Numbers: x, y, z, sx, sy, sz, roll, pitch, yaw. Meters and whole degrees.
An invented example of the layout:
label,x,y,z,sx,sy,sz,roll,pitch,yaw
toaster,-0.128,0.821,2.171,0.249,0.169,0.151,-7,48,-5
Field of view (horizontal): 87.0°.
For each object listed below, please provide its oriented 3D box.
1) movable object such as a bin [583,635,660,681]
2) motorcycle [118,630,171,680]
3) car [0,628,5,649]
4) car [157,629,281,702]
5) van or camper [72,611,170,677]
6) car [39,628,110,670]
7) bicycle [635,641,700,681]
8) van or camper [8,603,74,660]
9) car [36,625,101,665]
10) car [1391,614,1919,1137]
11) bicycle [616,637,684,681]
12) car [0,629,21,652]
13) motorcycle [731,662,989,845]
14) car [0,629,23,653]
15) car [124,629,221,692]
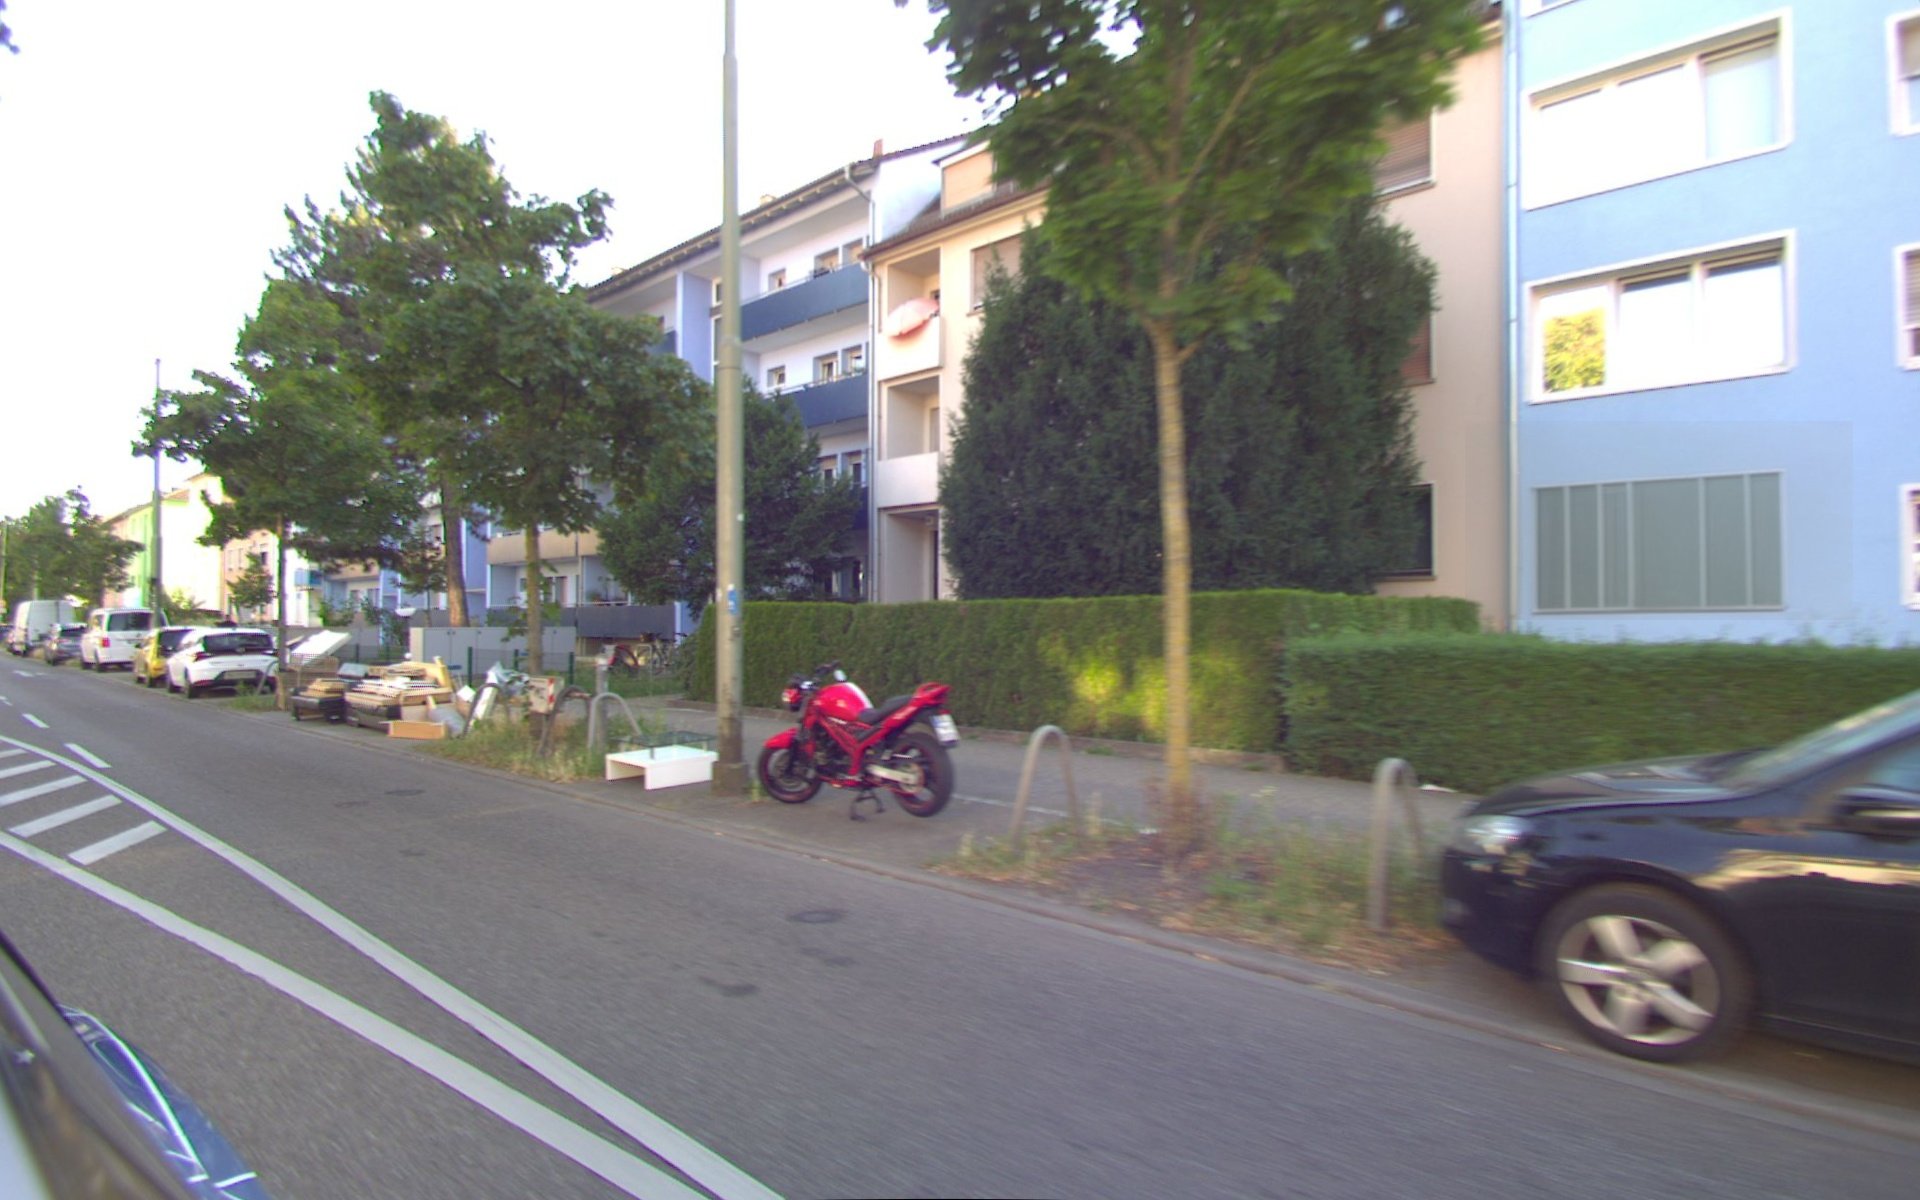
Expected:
label,x,y,z,sx,sy,sz,roll,pitch,yaw
movable object such as a bin,-8.148,1.378,24.380,1.060,1.057,1.446,-2,-2,43
motorcycle,-24.184,1.612,30.044,0.780,1.412,2.024,1,-2,-26
car,-76.169,3.006,79.277,3.958,1.609,1.784,-2,-2,44
car,-16.692,1.408,22.725,3.882,1.454,1.661,-2,-1,45
van or camper,-27.715,1.401,33.363,4.863,2.029,1.785,-1,-2,42
car,-34.249,1.856,39.107,3.958,1.509,1.784,-2,-2,44
bicycle,-7.631,1.570,26.397,1.739,0.996,0.500,-1,-2,25
van or camper,-44.288,1.507,48.747,5.335,2.562,1.892,-2,-2,43
car,-37.753,1.871,42.842,3.958,1.603,1.784,-2,-2,44
car,3.929,0.819,3.247,4.316,1.529,1.817,-1,-1,44
bicycle,-7.931,1.496,25.890,1.739,1.104,0.529,-1,-2,25
car,-63.204,2.668,66.806,1.737,1.459,3.789,1,-2,-42
motorcycle,-0.832,1.099,7.805,2.171,1.145,0.632,-1,0,40
car,-60.443,2.561,63.967,1.737,1.459,3.594,1,-2,-42
car,-20.393,1.512,26.164,3.491,1.480,1.556,-2,-1,45
